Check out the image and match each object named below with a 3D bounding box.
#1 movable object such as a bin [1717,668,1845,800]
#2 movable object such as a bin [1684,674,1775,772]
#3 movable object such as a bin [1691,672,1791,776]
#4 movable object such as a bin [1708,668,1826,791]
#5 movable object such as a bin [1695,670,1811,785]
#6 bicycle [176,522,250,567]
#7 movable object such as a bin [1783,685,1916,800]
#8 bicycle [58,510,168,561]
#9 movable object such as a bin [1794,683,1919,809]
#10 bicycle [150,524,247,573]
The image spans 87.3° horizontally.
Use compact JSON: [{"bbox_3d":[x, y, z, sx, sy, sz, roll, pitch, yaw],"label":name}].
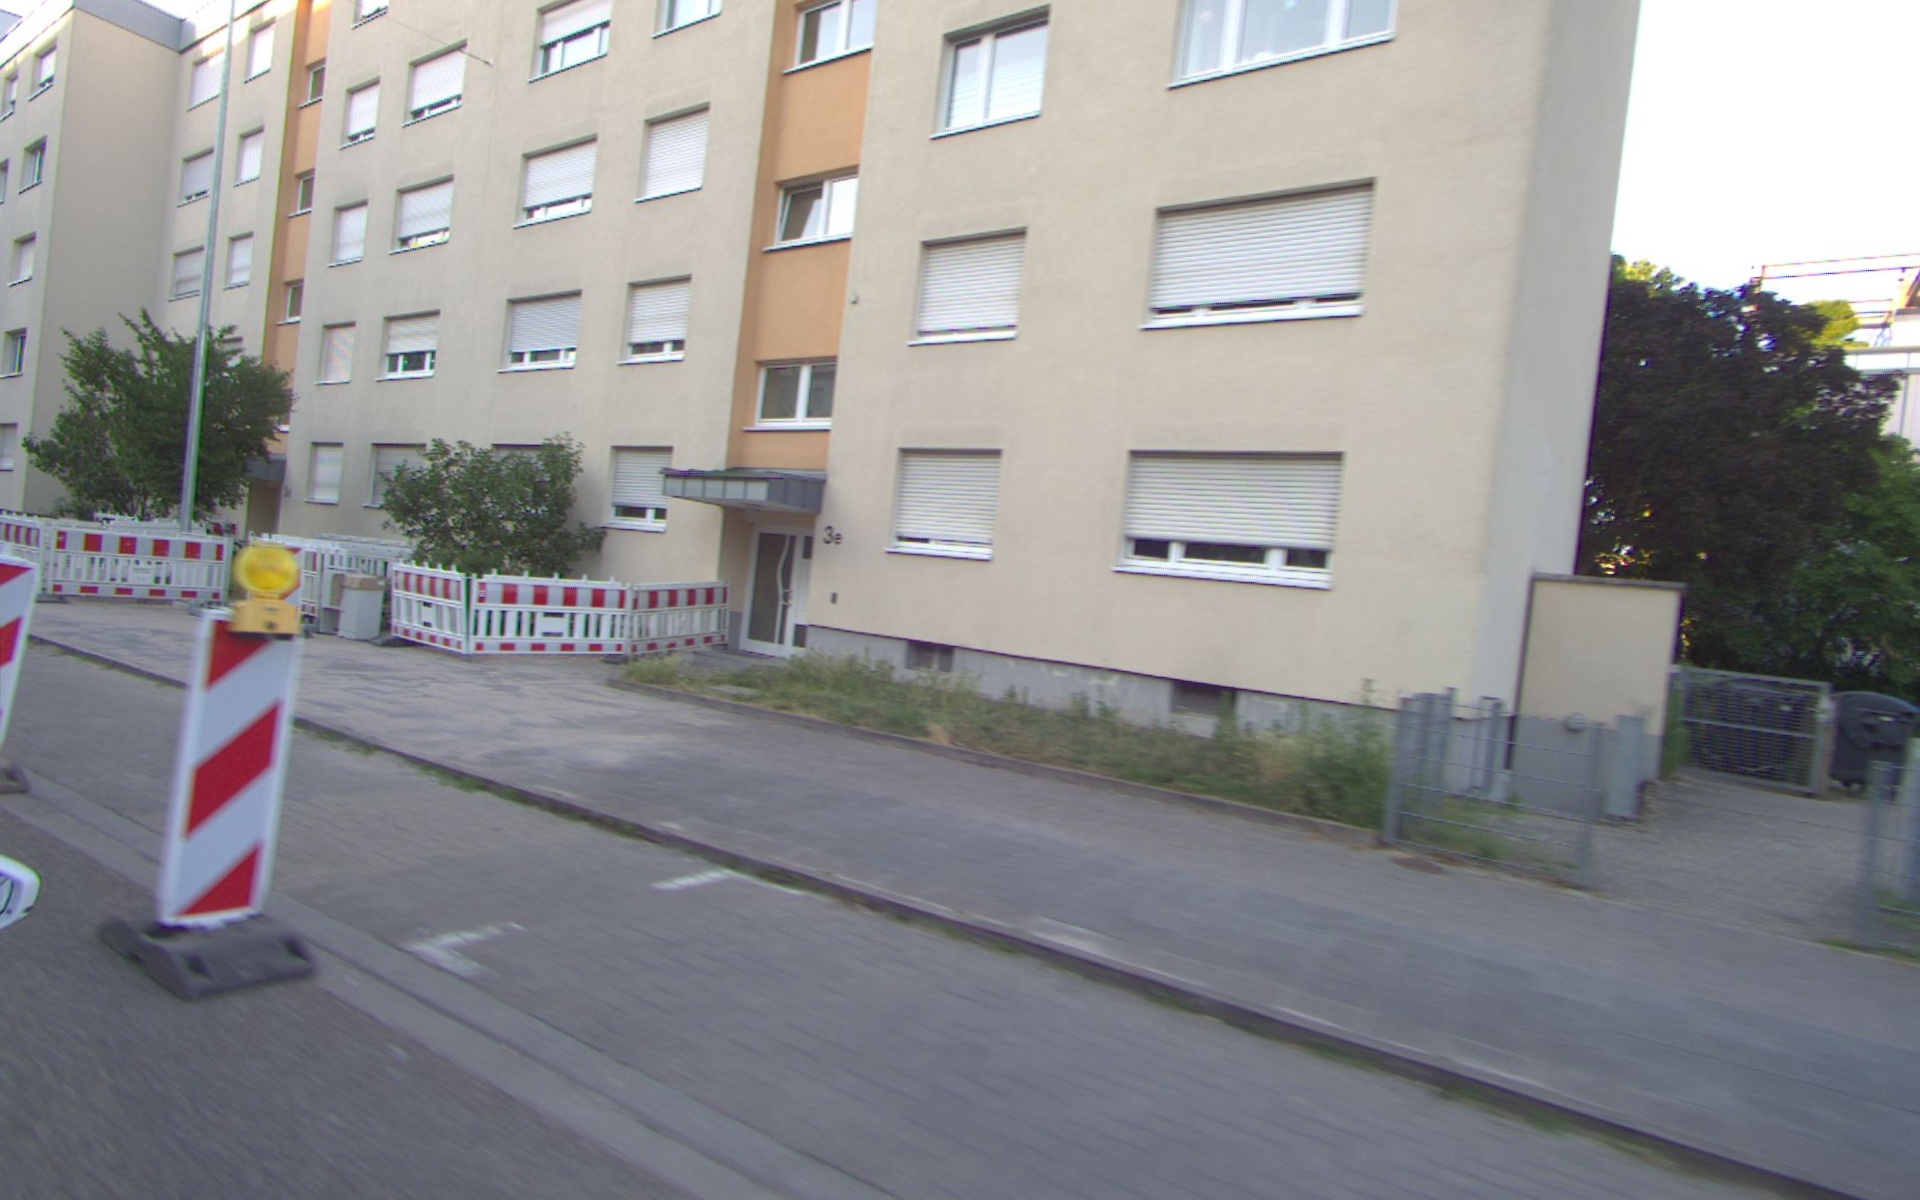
[{"bbox_3d":[10.479,1.671,12.894,0.995,1.483,0.999,7,1,31],"label":"movable object such as a bin"},{"bbox_3d":[13.085,2.059,17.146,0.995,1.483,0.999,7,1,31],"label":"movable object such as a bin"},{"bbox_3d":[12.352,1.934,15.961,0.995,1.448,1.103,7,1,31],"label":"movable object such as a bin"},{"bbox_3d":[11.015,1.729,13.776,0.995,1.483,0.999,7,1,31],"label":"movable object such as a bin"},{"bbox_3d":[11.655,1.832,14.850,1.045,1.483,1.387,7,1,31],"label":"movable object such as a bin"},{"bbox_3d":[-16.597,-1.239,22.388,0.548,0.934,1.811,3,4,-9],"label":"bicycle"},{"bbox_3d":[13.388,2.105,15.206,1.140,1.483,1.387,7,1,31],"label":"movable object such as a bin"},{"bbox_3d":[-18.154,-1.370,21.594,0.550,1.001,1.747,7,5,40],"label":"bicycle"},{"bbox_3d":[12.414,1.960,13.866,1.091,1.483,1.317,7,1,31],"label":"movable object such as a bin"},{"bbox_3d":[-15.431,-1.038,20.391,1.584,0.877,0.557,4,4,3],"label":"bicycle"}]
